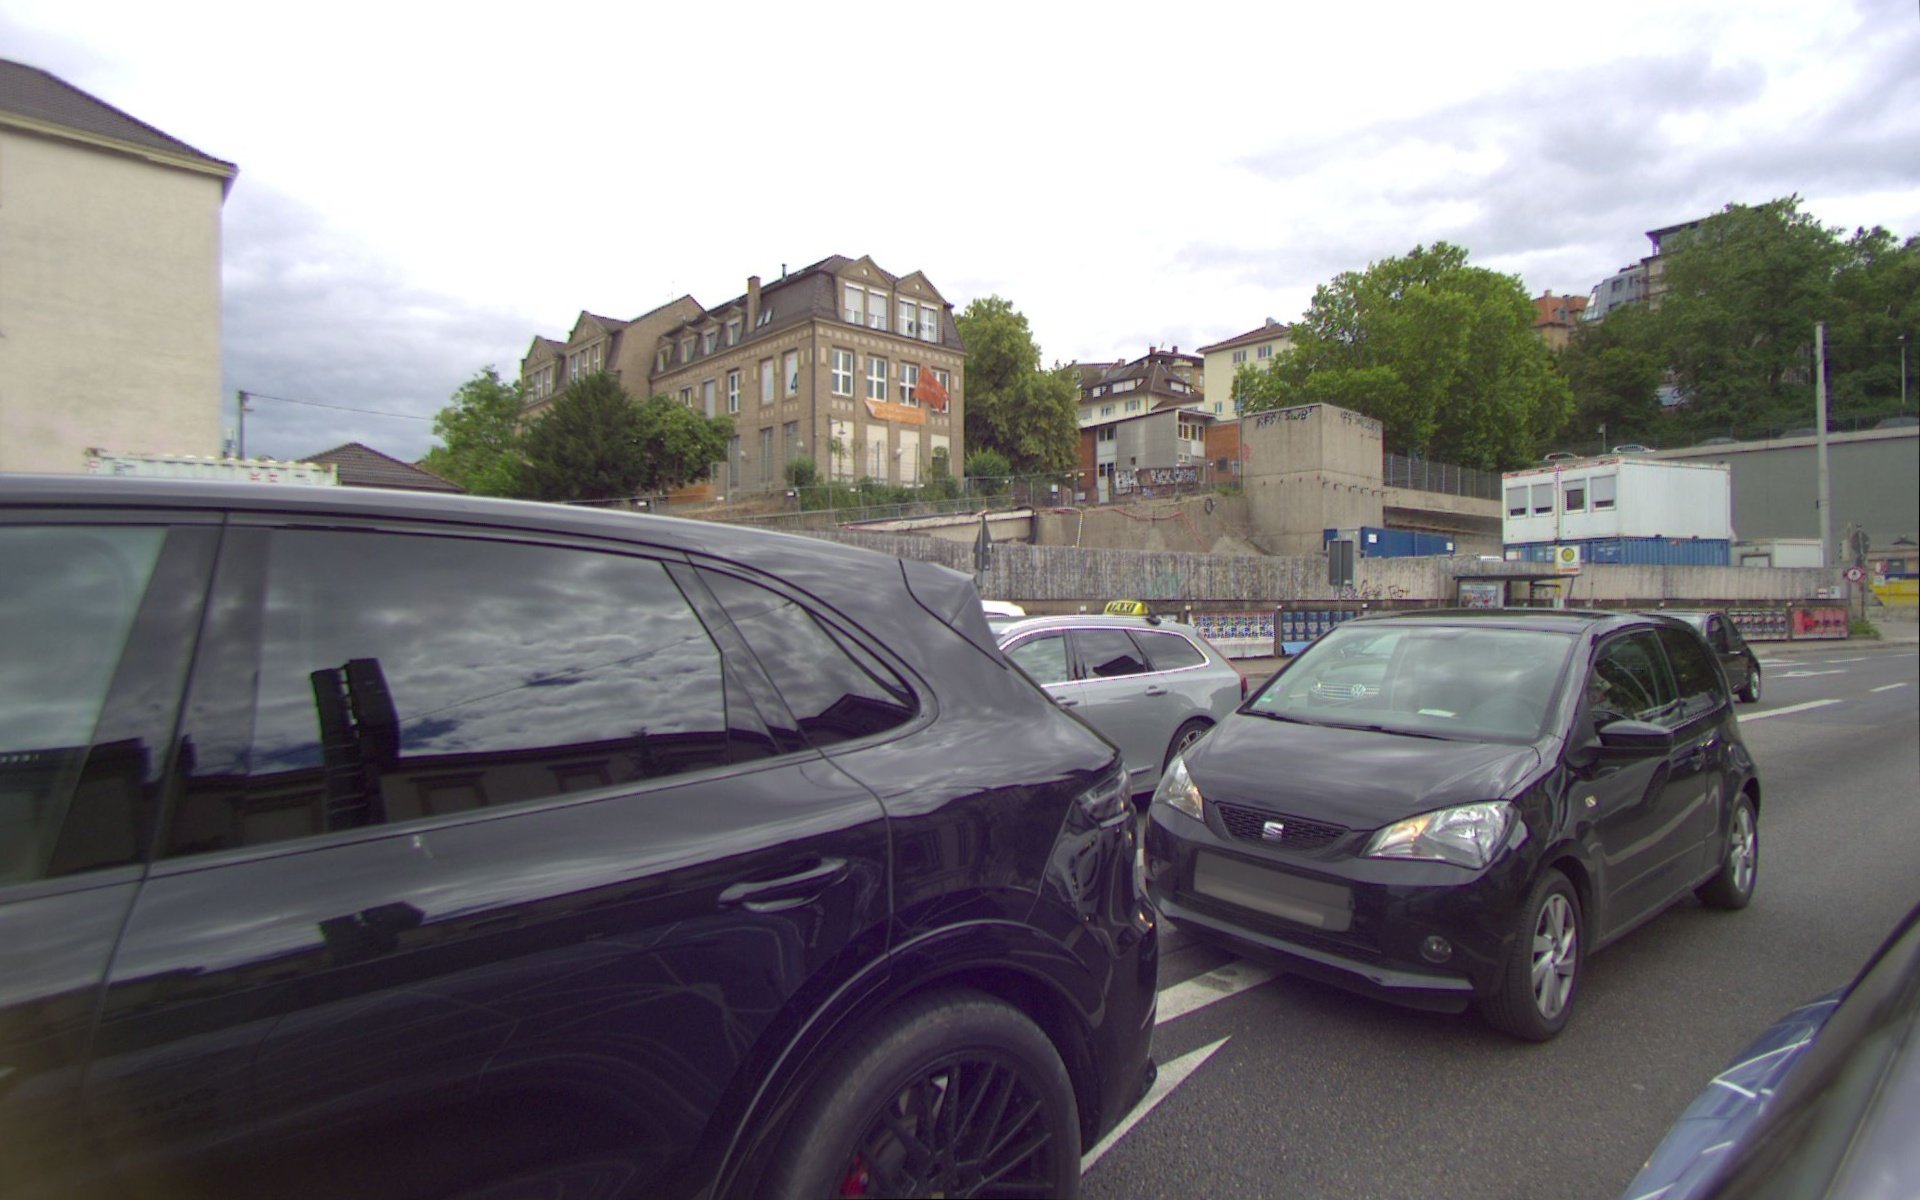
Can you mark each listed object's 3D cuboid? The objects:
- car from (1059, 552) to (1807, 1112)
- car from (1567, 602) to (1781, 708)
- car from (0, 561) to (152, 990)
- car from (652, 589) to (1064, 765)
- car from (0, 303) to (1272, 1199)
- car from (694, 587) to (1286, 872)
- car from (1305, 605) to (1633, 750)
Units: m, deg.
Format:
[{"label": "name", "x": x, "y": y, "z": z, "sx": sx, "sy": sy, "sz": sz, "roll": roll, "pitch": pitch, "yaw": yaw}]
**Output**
[{"label": "car", "x": 2.414, "y": 0.631, "z": 4.719, "sx": 3.841, "sy": 1.575, "sz": 1.661, "roll": -1, "pitch": 0, "yaw": -39}, {"label": "car", "x": 11.268, "y": 0.792, "z": 15.911, "sx": 3.711, "sy": 1.478, "sz": 1.721, "roll": 1, "pitch": -2, "yaw": -38}, {"label": "car", "x": -5.060, "y": 0.636, "z": 3.458, "sx": 3.581, "sy": 1.529, "sz": 1.826, "roll": -1, "pitch": 0, "yaw": -39}, {"label": "car", "x": -0.937, "y": 0.633, "z": 10.603, "sx": 4.004, "sy": 1.484, "sz": 1.824, "roll": -1, "pitch": 0, "yaw": -42}, {"label": "car", "x": -1.655, "y": 0.555, "z": 1.667, "sx": 4.497, "sy": 1.689, "sz": 1.998, "roll": -1, "pitch": 0, "yaw": -39}, {"label": "car", "x": 0.402, "y": 0.657, "z": 7.340, "sx": 4.142, "sy": 1.484, "sz": 1.825, "roll": -1, "pitch": 0, "yaw": -40}, {"label": "car", "x": 6.026, "y": 0.768, "z": 11.805, "sx": 4.139, "sy": 1.381, "sz": 1.827, "roll": 1, "pitch": 0, "yaw": -38}]
